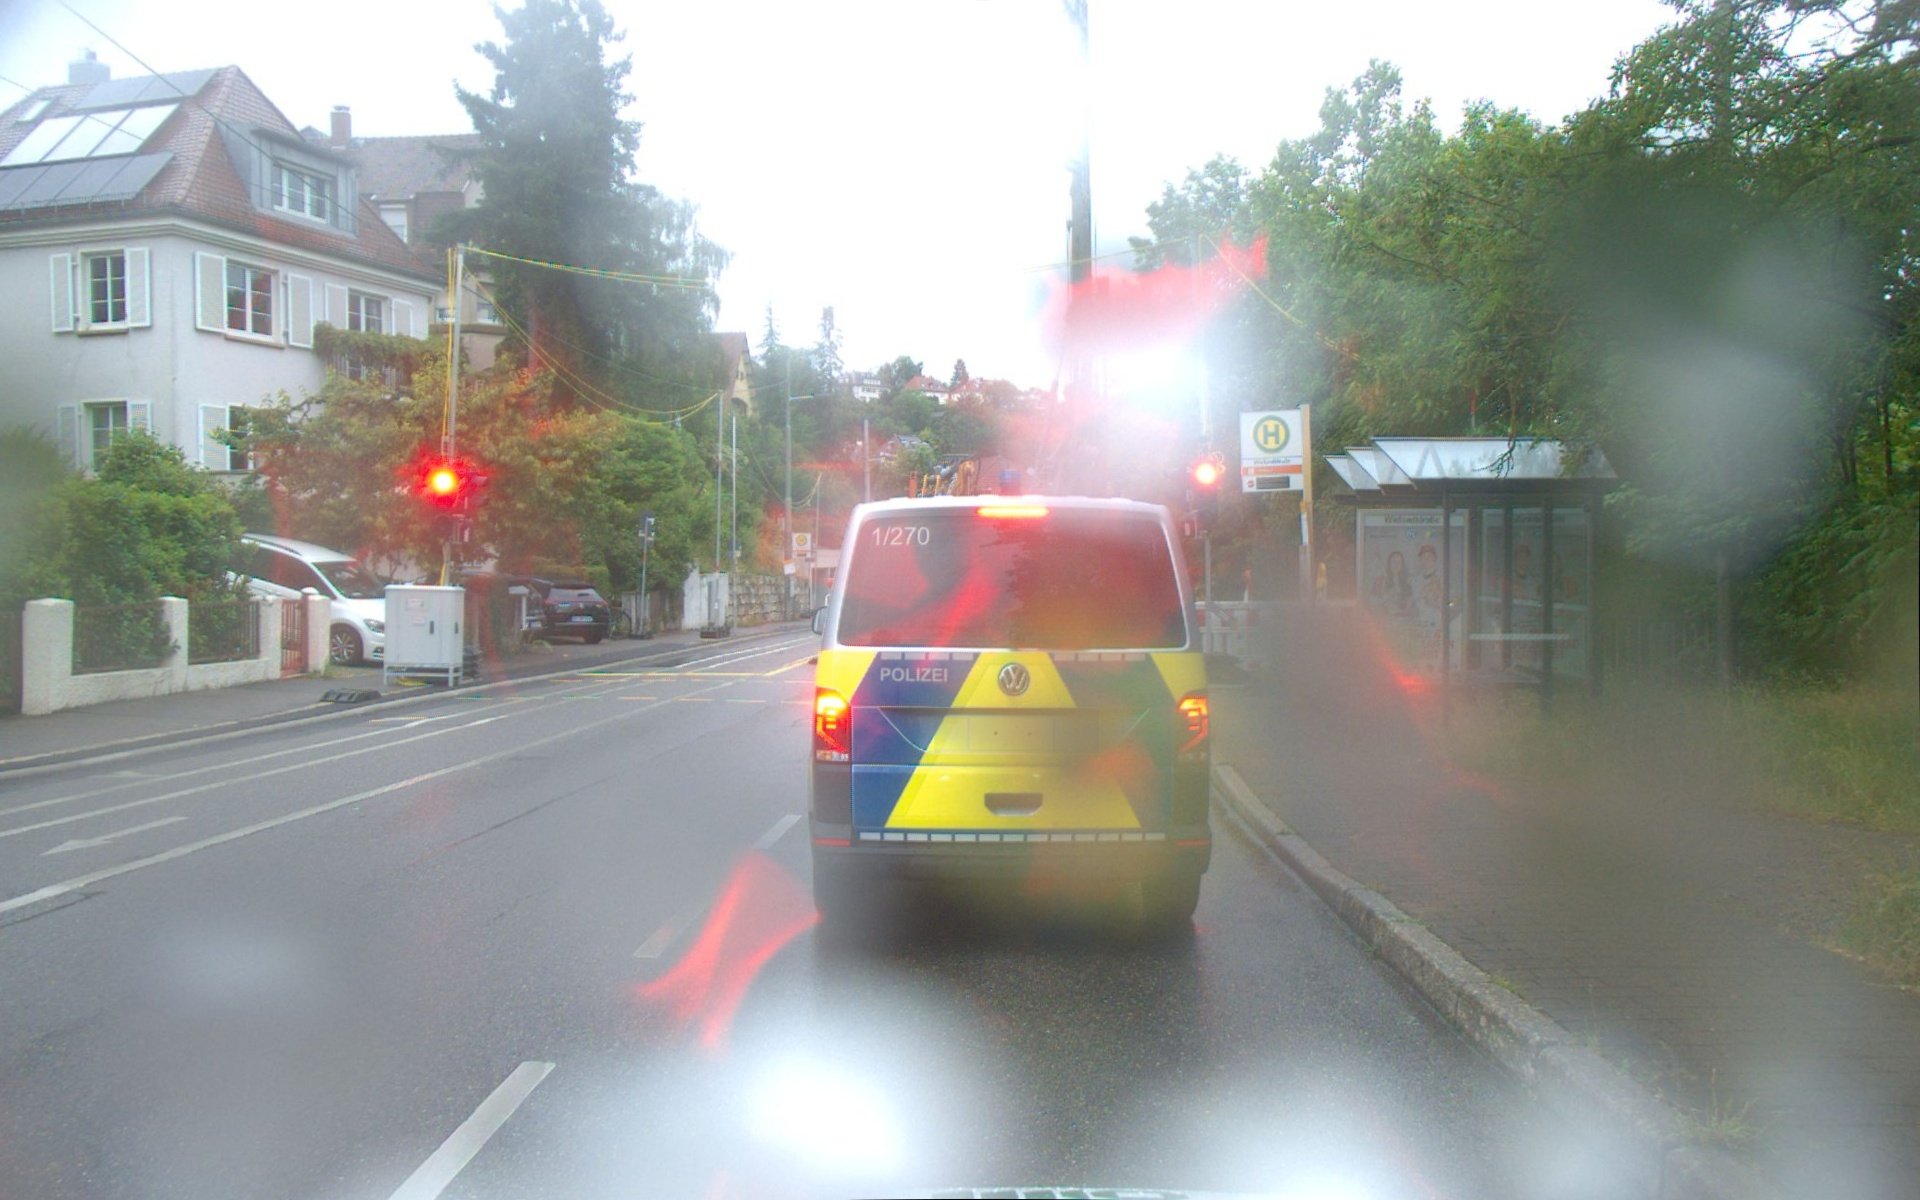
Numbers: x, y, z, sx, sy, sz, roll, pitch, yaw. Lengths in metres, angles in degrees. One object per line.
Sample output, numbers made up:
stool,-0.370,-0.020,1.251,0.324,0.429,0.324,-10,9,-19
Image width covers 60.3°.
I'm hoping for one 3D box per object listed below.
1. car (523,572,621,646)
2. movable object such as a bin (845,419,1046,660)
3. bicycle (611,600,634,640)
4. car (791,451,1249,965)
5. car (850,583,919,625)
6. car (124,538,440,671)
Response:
car,-8.916,0.173,37.817,1.739,1.512,3.721,1,2,-20
movable object such as a bin,-0.171,-1.096,31.627,2.770,4.250,4.384,1,0,14
bicycle,-8.059,0.464,39.443,0.455,0.913,1.628,0,0,-15
car,0.221,0.434,8.809,1.855,2.086,3.999,1,0,-1
car,-2.880,0.166,64.299,1.813,1.554,4.823,1,0,8
car,-11.214,0.053,27.479,4.532,2.042,1.902,1,0,11
